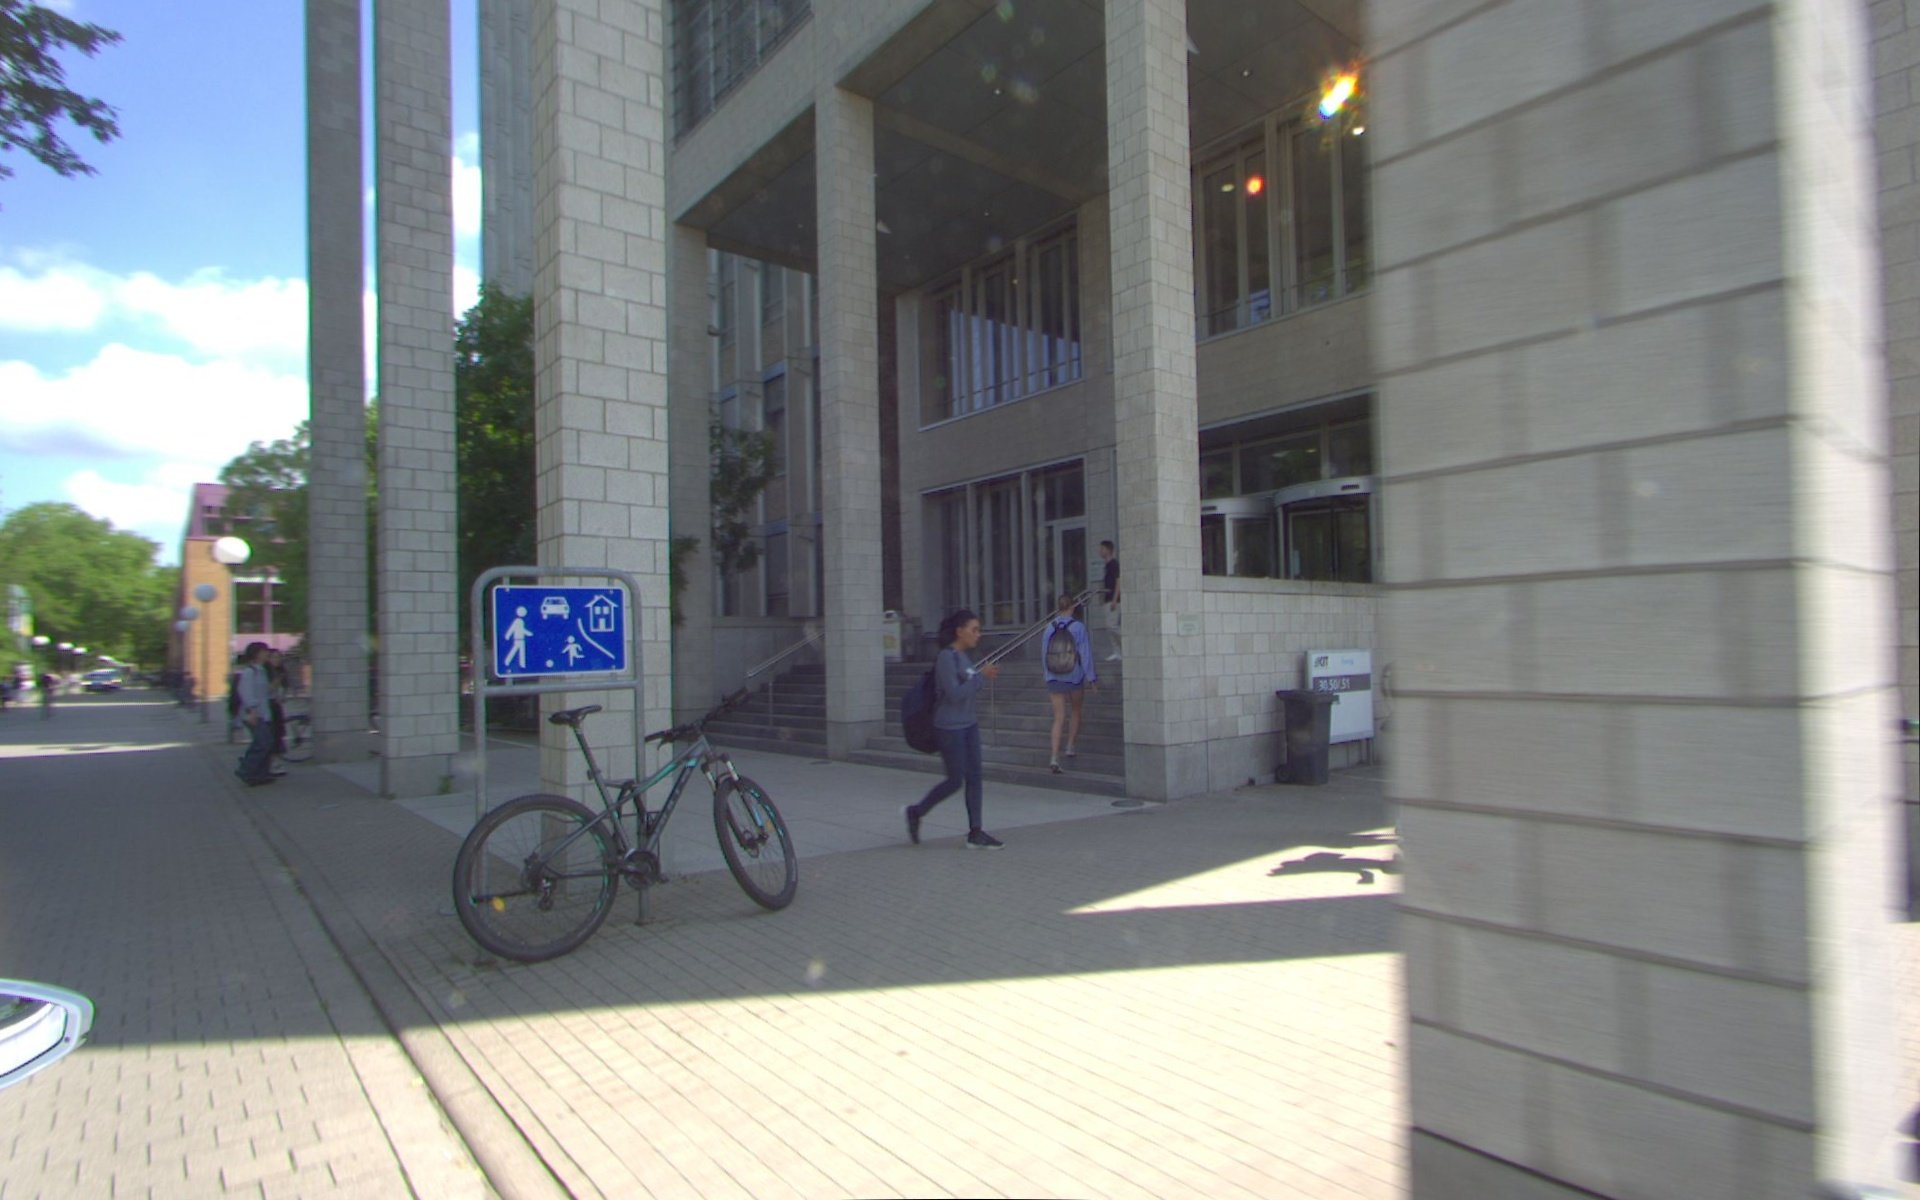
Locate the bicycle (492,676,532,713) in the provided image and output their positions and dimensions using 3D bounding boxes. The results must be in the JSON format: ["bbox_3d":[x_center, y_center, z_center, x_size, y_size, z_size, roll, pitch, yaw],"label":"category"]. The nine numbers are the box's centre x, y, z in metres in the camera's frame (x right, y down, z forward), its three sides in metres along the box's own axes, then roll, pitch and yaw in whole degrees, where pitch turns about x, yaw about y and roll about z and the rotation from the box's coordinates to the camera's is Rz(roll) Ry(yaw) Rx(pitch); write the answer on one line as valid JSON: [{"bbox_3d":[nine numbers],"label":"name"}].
[{"bbox_3d":[-11.880,2.492,26.550,1.786,0.917,0.289,-3,-2,43],"label":"bicycle"}]

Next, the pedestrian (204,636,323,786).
[{"bbox_3d":[-8.341,1.305,12.022,0.882,1.691,0.675,-3,-1,-2],"label":"pedestrian"}]

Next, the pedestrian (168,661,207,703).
[{"bbox_3d":[-34.994,3.685,45.362,0.872,1.880,1.032,-1,-3,13],"label":"pedestrian"}]

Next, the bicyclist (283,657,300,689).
[{"bbox_3d":[-36.710,4.006,54.995,0.654,1.737,0.587,0,-2,-22],"label":"bicyclist"}]

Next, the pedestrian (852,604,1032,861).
[{"bbox_3d":[-0.120,0.861,6.823,0.870,1.593,0.815,-4,-3,36],"label":"pedestrian"}]

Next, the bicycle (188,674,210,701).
[{"bbox_3d":[-33.061,3.799,43.488,0.703,1.106,1.735,1,-3,-39],"label":"bicycle"}]

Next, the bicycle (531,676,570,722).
[{"bbox_3d":[-8.547,2.049,20.876,0.288,0.917,1.435,0,-2,-42],"label":"bicycle"}]

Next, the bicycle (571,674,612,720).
[{"bbox_3d":[-7.835,2.051,21.274,0.288,0.917,1.435,0,-2,-42],"label":"bicycle"}]

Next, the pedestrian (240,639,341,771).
[{"bbox_3d":[-8.685,1.340,13.014,0.727,1.638,0.808,-2,-1,8],"label":"pedestrian"}]

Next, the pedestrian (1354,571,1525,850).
[{"bbox_3d":[3.188,0.717,6.748,0.844,1.745,0.780,0,-3,11],"label":"pedestrian"}]

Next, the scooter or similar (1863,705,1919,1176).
[{"bbox_3d":[2.986,0.887,2.783,1.144,1.166,0.441,0,-1,-35],"label":"scooter or similar"}]

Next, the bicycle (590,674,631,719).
[{"bbox_3d":[-7.529,2.070,21.540,0.288,0.917,1.435,0,-2,-42],"label":"bicycle"}]

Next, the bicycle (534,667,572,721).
[{"bbox_3d":[-9.044,2.070,22.219,0.288,1.142,1.435,0,-2,-42],"label":"bicycle"}]

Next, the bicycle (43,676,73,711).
[{"bbox_3d":[-31.621,3.268,35.113,0.766,1.164,2.091,0,-3,-42],"label":"bicycle"}]

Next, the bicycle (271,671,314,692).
[{"bbox_3d":[-36.654,4.483,55.007,1.876,1.097,0.587,0,-2,-22],"label":"bicycle"}]

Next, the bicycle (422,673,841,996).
[{"bbox_3d":[-1.525,1.015,4.933,1.868,1.179,0.599,-1,0,-45],"label":"bicycle"}]

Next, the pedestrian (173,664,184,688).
[{"bbox_3d":[-55.707,5.423,71.373,0.581,1.693,0.694,-1,-2,-38],"label":"pedestrian"}]

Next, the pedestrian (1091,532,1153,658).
[{"bbox_3d":[2.427,-0.061,15.068,0.866,1.826,0.703,-1,-1,7],"label":"pedestrian"}]

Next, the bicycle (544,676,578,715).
[{"bbox_3d":[-9.790,2.333,24.569,0.288,0.917,1.435,0,-2,-42],"label":"bicycle"}]

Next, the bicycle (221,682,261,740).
[{"bbox_3d":[-14.286,2.182,19.881,0.533,1.052,1.844,0,-2,-39],"label":"bicycle"}]

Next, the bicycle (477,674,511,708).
[{"bbox_3d":[-13.151,2.548,28.249,1.602,0.917,0.289,-3,-2,43],"label":"bicycle"}]

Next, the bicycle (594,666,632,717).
[{"bbox_3d":[-8.028,2.097,23.147,0.288,1.113,1.435,0,-2,-42],"label":"bicycle"}]

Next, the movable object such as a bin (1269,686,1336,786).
[{"bbox_3d":[3.427,1.345,10.028,0.544,0.950,0.371,-2,-2,32],"label":"movable object such as a bin"}]

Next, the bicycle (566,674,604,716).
[{"bbox_3d":[-8.516,2.138,22.734,0.288,0.898,1.435,0,-2,-42],"label":"bicycle"}]

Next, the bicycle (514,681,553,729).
[{"bbox_3d":[-8.808,2.152,20.666,0.288,0.917,1.435,0,-2,-42],"label":"bicycle"}]

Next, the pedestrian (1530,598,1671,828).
[{"bbox_3d":[4.765,0.811,7.502,0.814,1.619,0.587,-2,-1,29],"label":"pedestrian"}]

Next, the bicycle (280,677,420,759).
[{"bbox_3d":[-9.055,1.725,14.908,1.727,1.053,0.445,0,-1,-44],"label":"bicycle"}]

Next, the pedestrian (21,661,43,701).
[{"bbox_3d":[-44.809,3.906,48.371,0.677,1.866,0.777,1,-4,-39],"label":"pedestrian"}]

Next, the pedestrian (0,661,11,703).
[{"bbox_3d":[-43.067,3.657,44.606,1.100,1.868,0.783,-2,-3,27],"label":"pedestrian"}]

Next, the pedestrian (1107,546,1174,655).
[{"bbox_3d":[2.839,0.024,15.834,0.865,1.676,0.703,-1,-1,-5],"label":"pedestrian"}]

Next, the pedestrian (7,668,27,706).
[{"bbox_3d":[-40.856,3.760,43.388,0.565,1.630,0.910,2,-4,-42],"label":"pedestrian"}]

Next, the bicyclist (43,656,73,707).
[{"bbox_3d":[-31.610,2.840,35.107,0.766,1.737,0.903,0,-3,-42],"label":"bicyclist"}]

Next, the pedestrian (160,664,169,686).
[{"bbox_3d":[-64.382,6.055,81.042,0.581,1.693,0.812,-1,-2,-38],"label":"pedestrian"}]

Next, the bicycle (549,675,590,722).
[{"bbox_3d":[-8.195,2.052,20.994,0.288,0.917,1.435,0,-2,-42],"label":"bicycle"}]

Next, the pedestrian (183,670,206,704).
[{"bbox_3d":[-39.176,4.441,51.258,0.843,1.671,0.585,1,-3,-32],"label":"pedestrian"}]

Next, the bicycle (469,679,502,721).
[{"bbox_3d":[-11.026,2.302,23.243,0.288,0.917,1.435,0,-2,-42],"label":"bicycle"}]

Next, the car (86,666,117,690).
[{"bbox_3d":[-69.554,6.307,81.196,1.776,1.784,4.447,0,-3,-39],"label":"car"}]

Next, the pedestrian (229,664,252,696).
[{"bbox_3d":[-39.874,4.426,55.525,0.890,1.749,0.683,-1,-4,-23],"label":"pedestrian"}]

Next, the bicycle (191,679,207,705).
[{"bbox_3d":[-29.287,3.533,38.538,0.392,0.948,1.718,-2,-1,-39],"label":"bicycle"}]

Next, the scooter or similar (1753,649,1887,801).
[{"bbox_3d":[7.758,1.076,9.089,0.352,1.239,1.427,-1,-1,17],"label":"scooter or similar"}]

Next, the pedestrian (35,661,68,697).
[{"bbox_3d":[-48.097,4.173,53.028,0.712,1.904,1.083,-1,-3,-2],"label":"pedestrian"}]

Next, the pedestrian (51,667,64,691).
[{"bbox_3d":[-70.678,6.157,78.450,0.677,1.866,0.777,1,-4,-39],"label":"pedestrian"}]

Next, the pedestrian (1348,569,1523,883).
[{"bbox_3d":[2.819,0.704,5.932,0.695,1.675,0.875,-2,-3,43],"label":"pedestrian"}]

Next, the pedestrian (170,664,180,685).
[{"bbox_3d":[-65.050,6.163,82.956,0.581,1.693,0.812,-1,-2,-38],"label":"pedestrian"}]

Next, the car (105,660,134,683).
[{"bbox_3d":[-76.818,6.469,91.589,1.868,1.998,5.175,1,-3,-39],"label":"car"}]

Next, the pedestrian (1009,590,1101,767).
[{"bbox_3d":[1.001,0.797,10.461,0.634,1.746,0.862,-1,-1,30],"label":"pedestrian"}]
